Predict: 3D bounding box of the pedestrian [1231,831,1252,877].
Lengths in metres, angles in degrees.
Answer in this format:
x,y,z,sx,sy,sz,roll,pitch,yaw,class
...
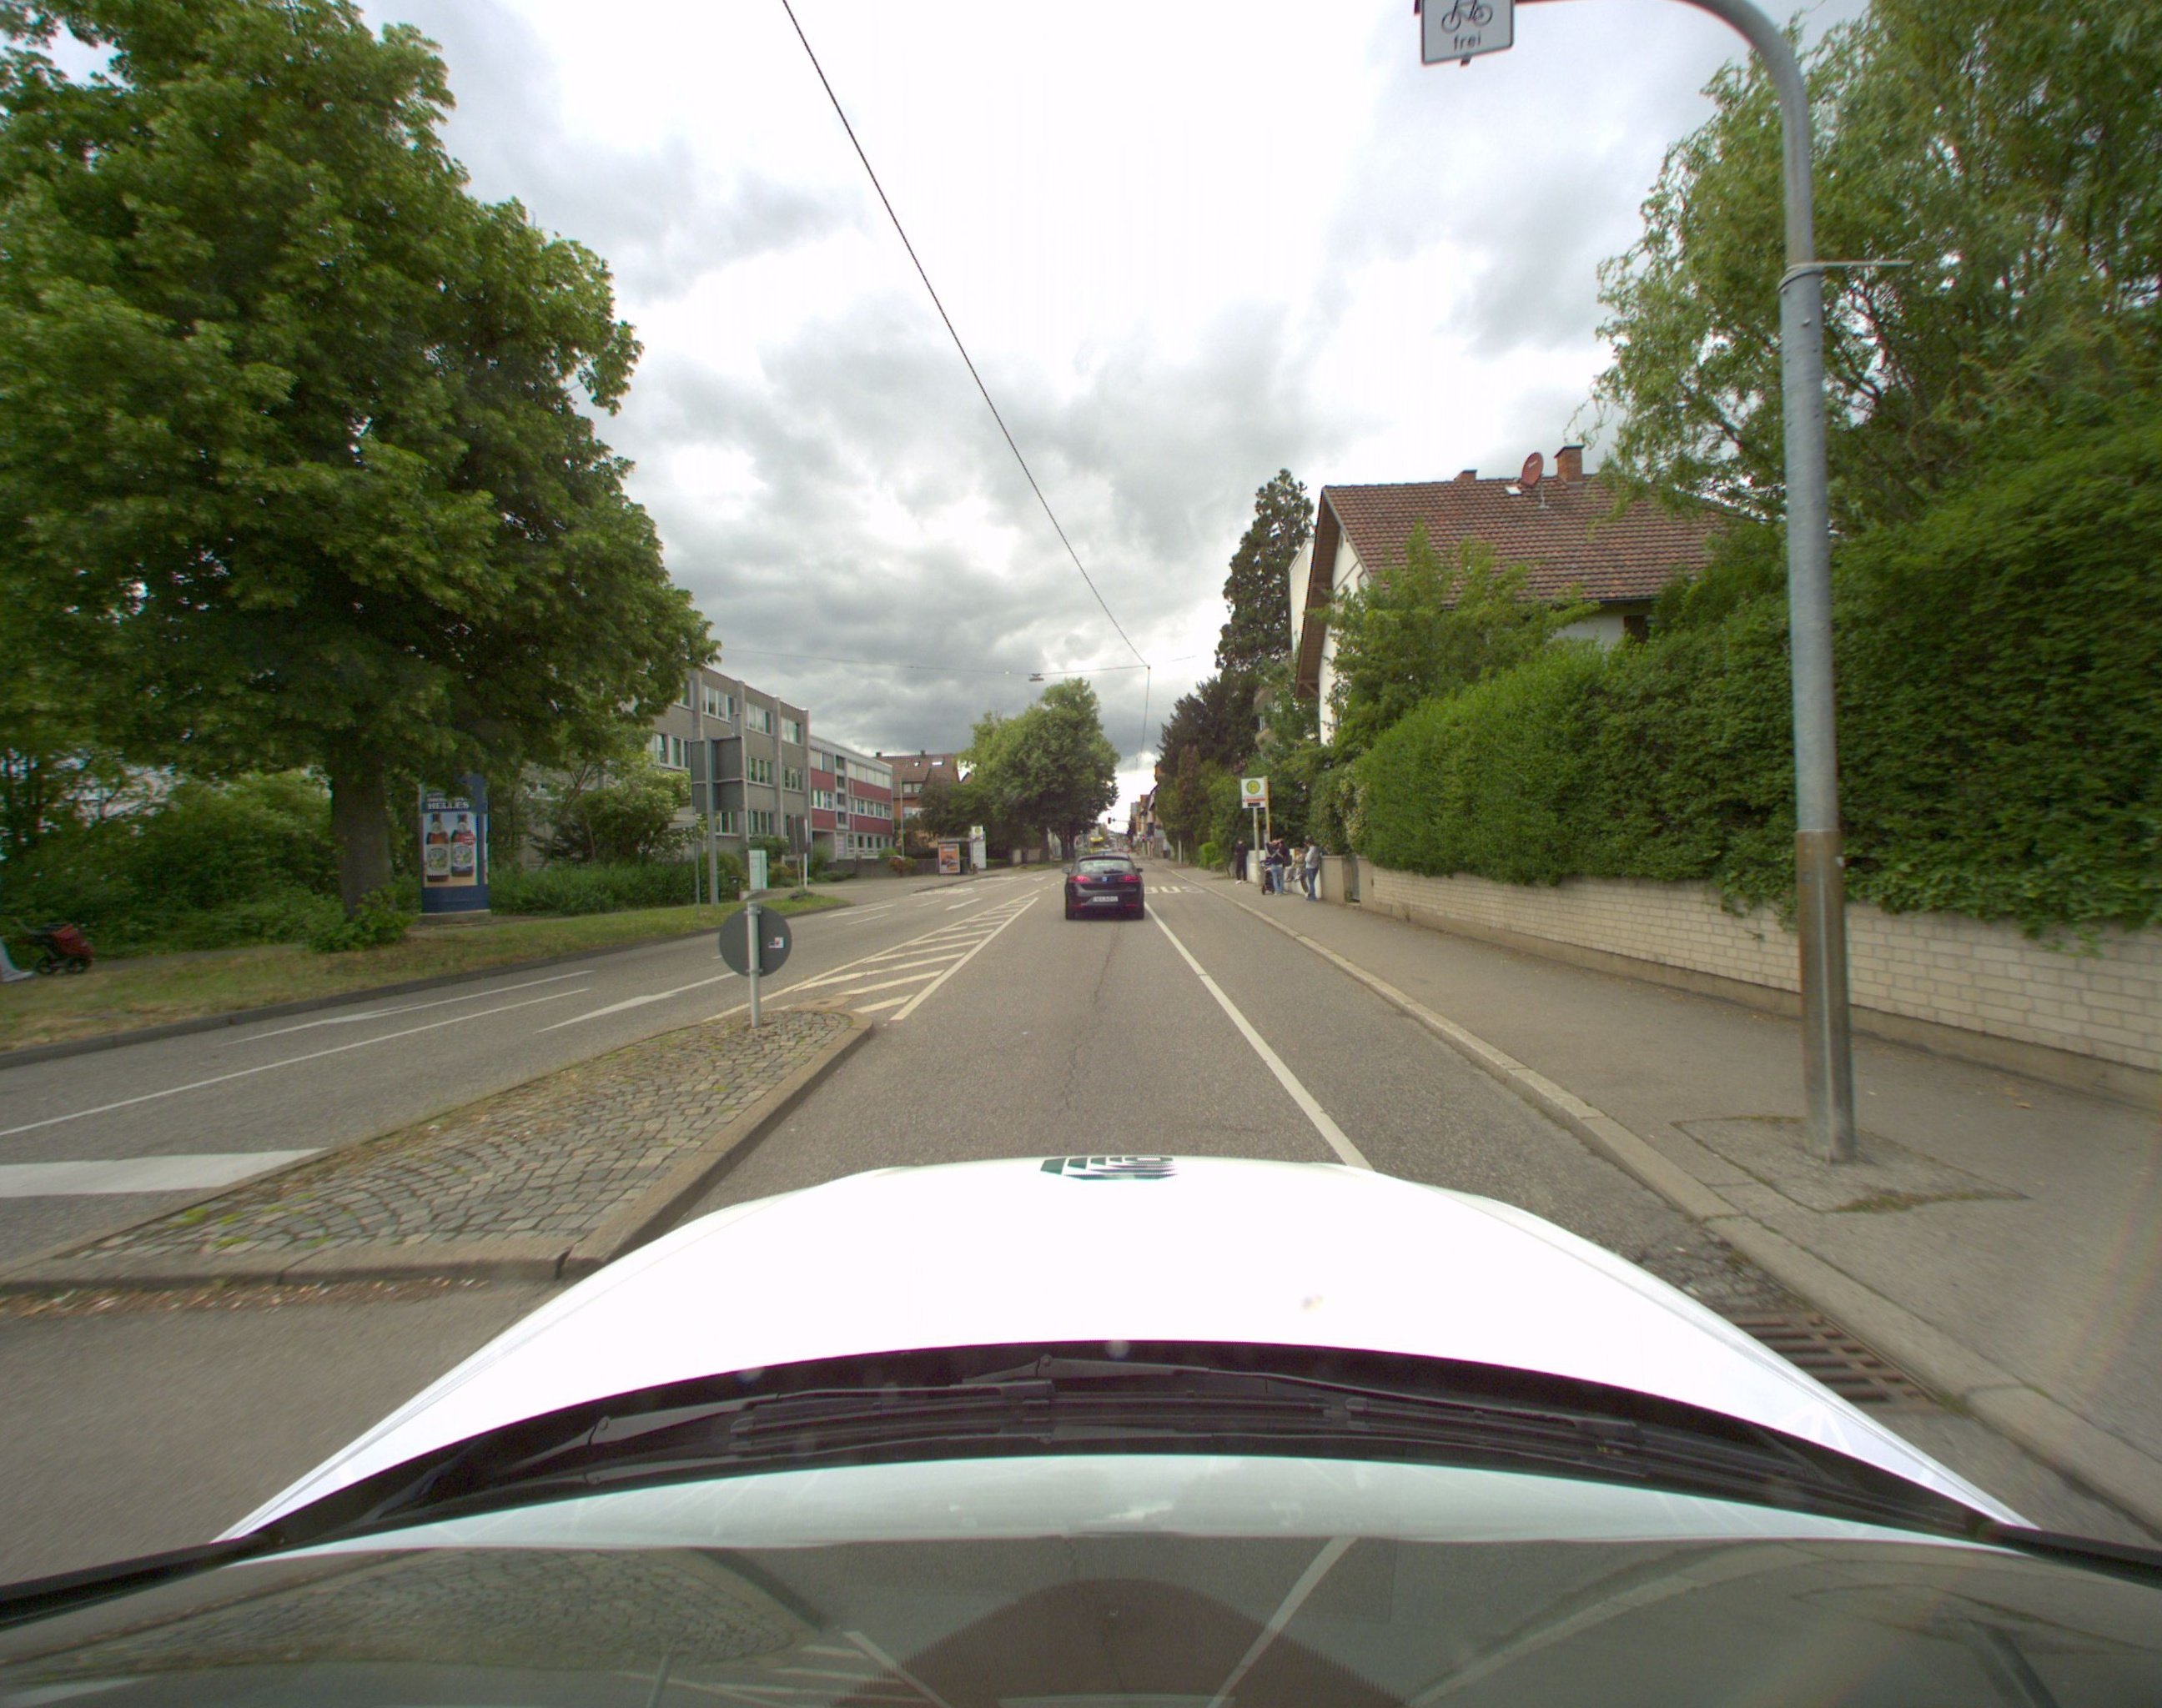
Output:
x,y,z,sx,sy,sz,roll,pitch,yaw,class
6.113,-0.001,30.999,0.583,1.711,0.530,-4,0,1,pedestrian

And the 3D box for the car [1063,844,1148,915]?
x,y,z,sx,sy,sz,roll,pitch,yaw,class
0.475,0.518,18.768,1.754,1.448,3.712,0,0,-1,car

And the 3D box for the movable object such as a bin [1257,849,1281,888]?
x,y,z,sx,sy,sz,roll,pitch,yaw,class
5.434,0.421,23.541,0.436,1.058,0.572,-5,1,28,movable object such as a bin

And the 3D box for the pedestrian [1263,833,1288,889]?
x,y,z,sx,sy,sz,roll,pitch,yaw,class
5.393,0.192,22.602,0.546,1.517,0.362,-4,1,11,pedestrian

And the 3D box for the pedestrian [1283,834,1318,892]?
x,y,z,sx,sy,sz,roll,pitch,yaw,class
5.660,0.235,21.001,0.613,1.427,0.516,-5,1,40,pedestrian

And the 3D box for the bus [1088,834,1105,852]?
x,y,z,sx,sy,sz,roll,pitch,yaw,class
2.846,-2.083,149.418,2.858,3.136,6.400,-2,0,2,bus

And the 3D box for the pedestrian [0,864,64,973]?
x,y,z,sx,sy,sz,roll,pitch,yaw,class
-15.506,0.922,11.669,0.653,1.522,0.923,-2,0,0,pedestrian

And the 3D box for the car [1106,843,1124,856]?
x,y,z,sx,sy,sz,roll,pitch,yaw,class
4.644,-0.564,110.561,1.982,1.684,4.009,-2,0,8,car

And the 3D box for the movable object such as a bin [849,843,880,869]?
x,y,z,sx,sy,sz,roll,pitch,yaw,class
-17.488,0.158,65.868,1.986,2.013,1.543,-2,0,1,movable object such as a bin

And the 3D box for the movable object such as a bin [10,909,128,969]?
x,y,z,sx,sy,sz,roll,pitch,yaw,class
-15.496,1.293,12.495,0.653,0.798,0.897,-2,0,-1,movable object such as a bin

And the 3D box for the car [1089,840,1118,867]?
x,y,z,sx,sy,sz,roll,pitch,yaw,class
1.644,-0.069,57.180,1.811,1.699,4.257,-2,1,3,car

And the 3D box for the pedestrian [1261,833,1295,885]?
x,y,z,sx,sy,sz,roll,pitch,yaw,class
5.896,0.151,24.384,0.778,1.500,0.604,-4,0,-4,pedestrian

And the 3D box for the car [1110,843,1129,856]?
x,y,z,sx,sy,sz,roll,pitch,yaw,class
4.520,-0.541,95.900,1.935,1.481,4.253,-2,1,0,car

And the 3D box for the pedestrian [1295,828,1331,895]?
x,y,z,sx,sy,sz,roll,pitch,yaw,class
5.566,0.174,19.555,0.543,1.555,0.470,-5,0,-7,pedestrian

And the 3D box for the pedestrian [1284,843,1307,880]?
x,y,z,sx,sy,sz,roll,pitch,yaw,class
5.963,0.204,22.685,0.453,0.964,0.382,-5,1,-4,pedestrian
